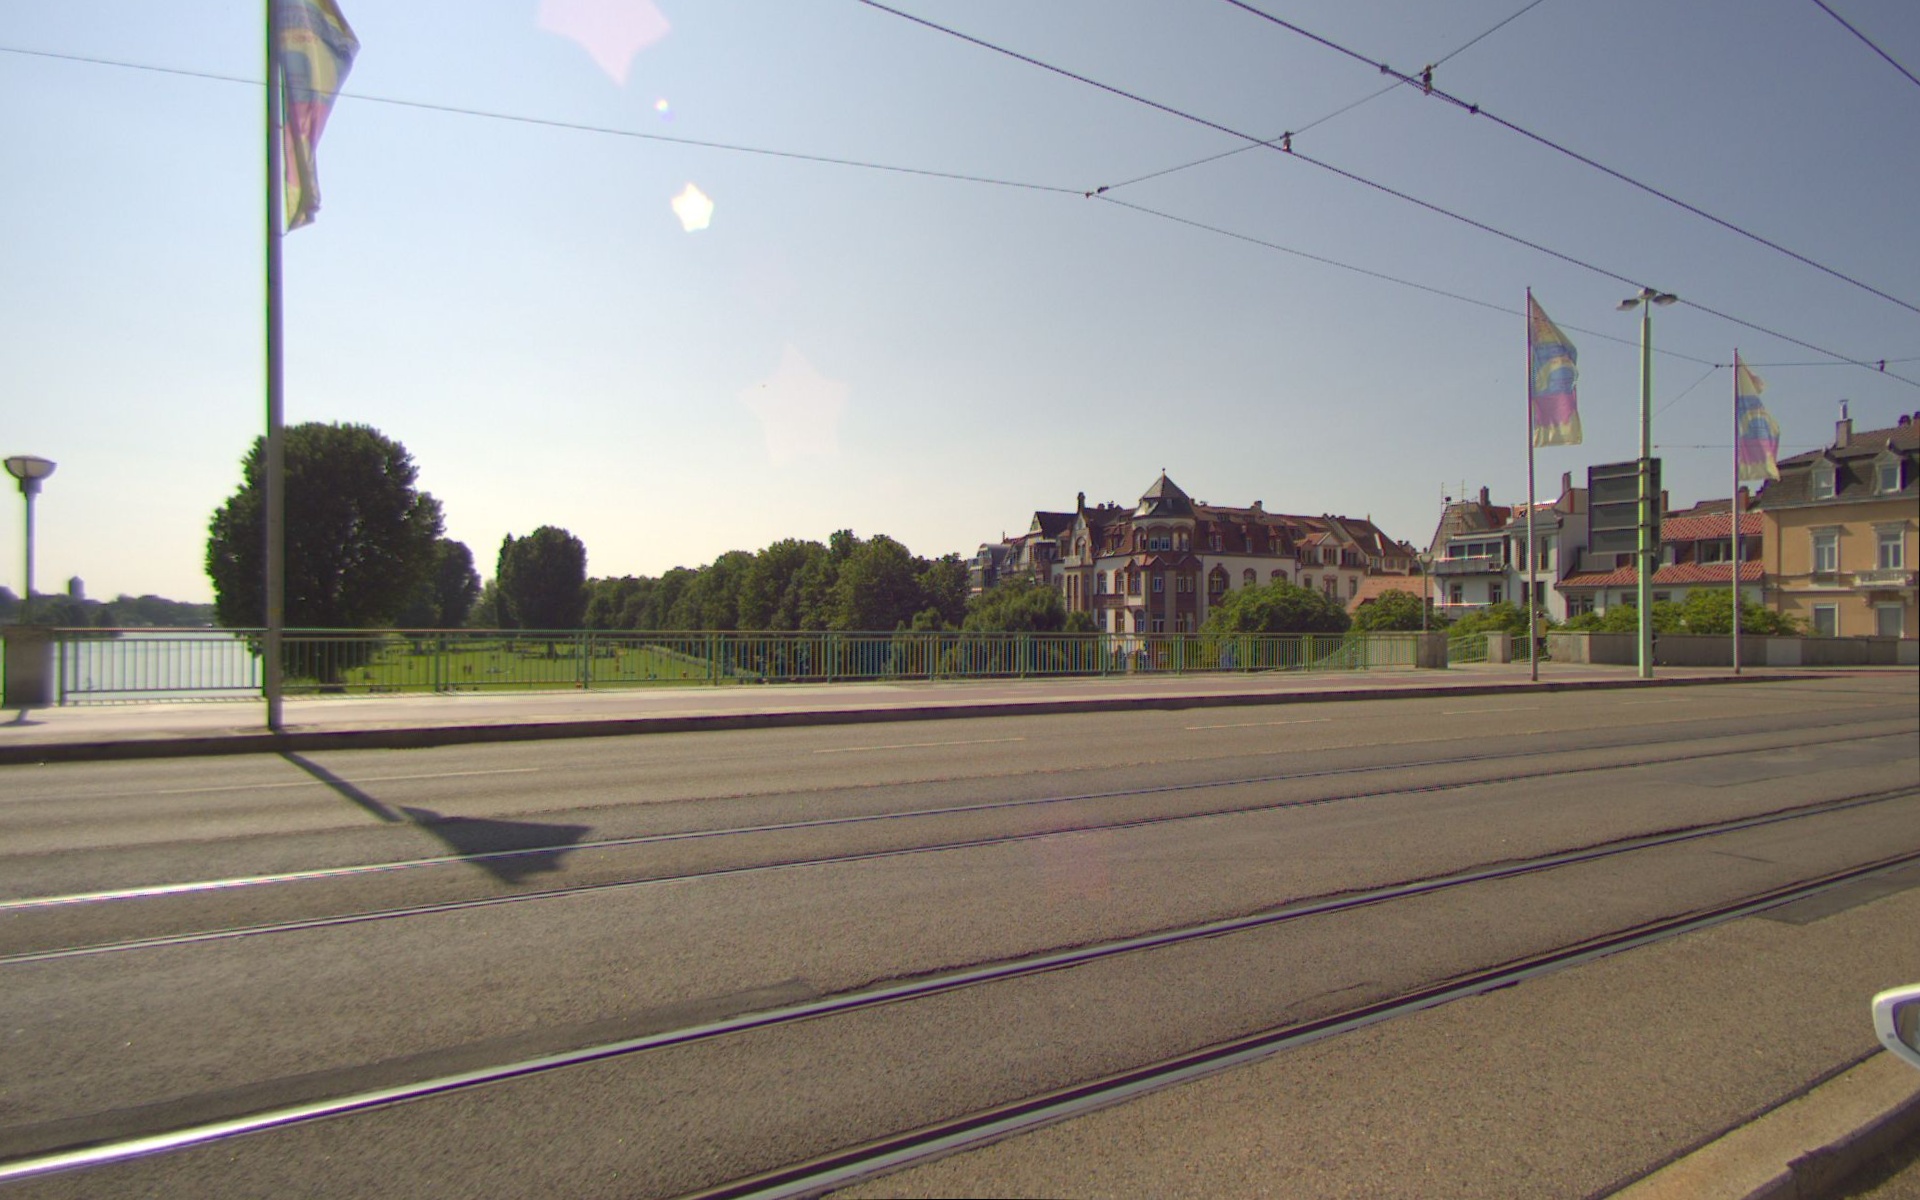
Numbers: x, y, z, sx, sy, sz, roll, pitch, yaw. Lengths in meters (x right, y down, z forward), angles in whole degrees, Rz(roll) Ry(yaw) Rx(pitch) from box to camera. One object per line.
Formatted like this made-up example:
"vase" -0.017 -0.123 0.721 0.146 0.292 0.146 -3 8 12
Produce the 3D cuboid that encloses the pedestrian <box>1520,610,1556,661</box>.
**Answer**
"pedestrian" 20.649 1.274 35.889 0.789 1.804 0.744 1 -2 -20

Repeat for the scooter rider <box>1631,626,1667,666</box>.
"scooter rider" 24.224 1.618 35.315 0.589 1.333 0.767 2 3 -18
